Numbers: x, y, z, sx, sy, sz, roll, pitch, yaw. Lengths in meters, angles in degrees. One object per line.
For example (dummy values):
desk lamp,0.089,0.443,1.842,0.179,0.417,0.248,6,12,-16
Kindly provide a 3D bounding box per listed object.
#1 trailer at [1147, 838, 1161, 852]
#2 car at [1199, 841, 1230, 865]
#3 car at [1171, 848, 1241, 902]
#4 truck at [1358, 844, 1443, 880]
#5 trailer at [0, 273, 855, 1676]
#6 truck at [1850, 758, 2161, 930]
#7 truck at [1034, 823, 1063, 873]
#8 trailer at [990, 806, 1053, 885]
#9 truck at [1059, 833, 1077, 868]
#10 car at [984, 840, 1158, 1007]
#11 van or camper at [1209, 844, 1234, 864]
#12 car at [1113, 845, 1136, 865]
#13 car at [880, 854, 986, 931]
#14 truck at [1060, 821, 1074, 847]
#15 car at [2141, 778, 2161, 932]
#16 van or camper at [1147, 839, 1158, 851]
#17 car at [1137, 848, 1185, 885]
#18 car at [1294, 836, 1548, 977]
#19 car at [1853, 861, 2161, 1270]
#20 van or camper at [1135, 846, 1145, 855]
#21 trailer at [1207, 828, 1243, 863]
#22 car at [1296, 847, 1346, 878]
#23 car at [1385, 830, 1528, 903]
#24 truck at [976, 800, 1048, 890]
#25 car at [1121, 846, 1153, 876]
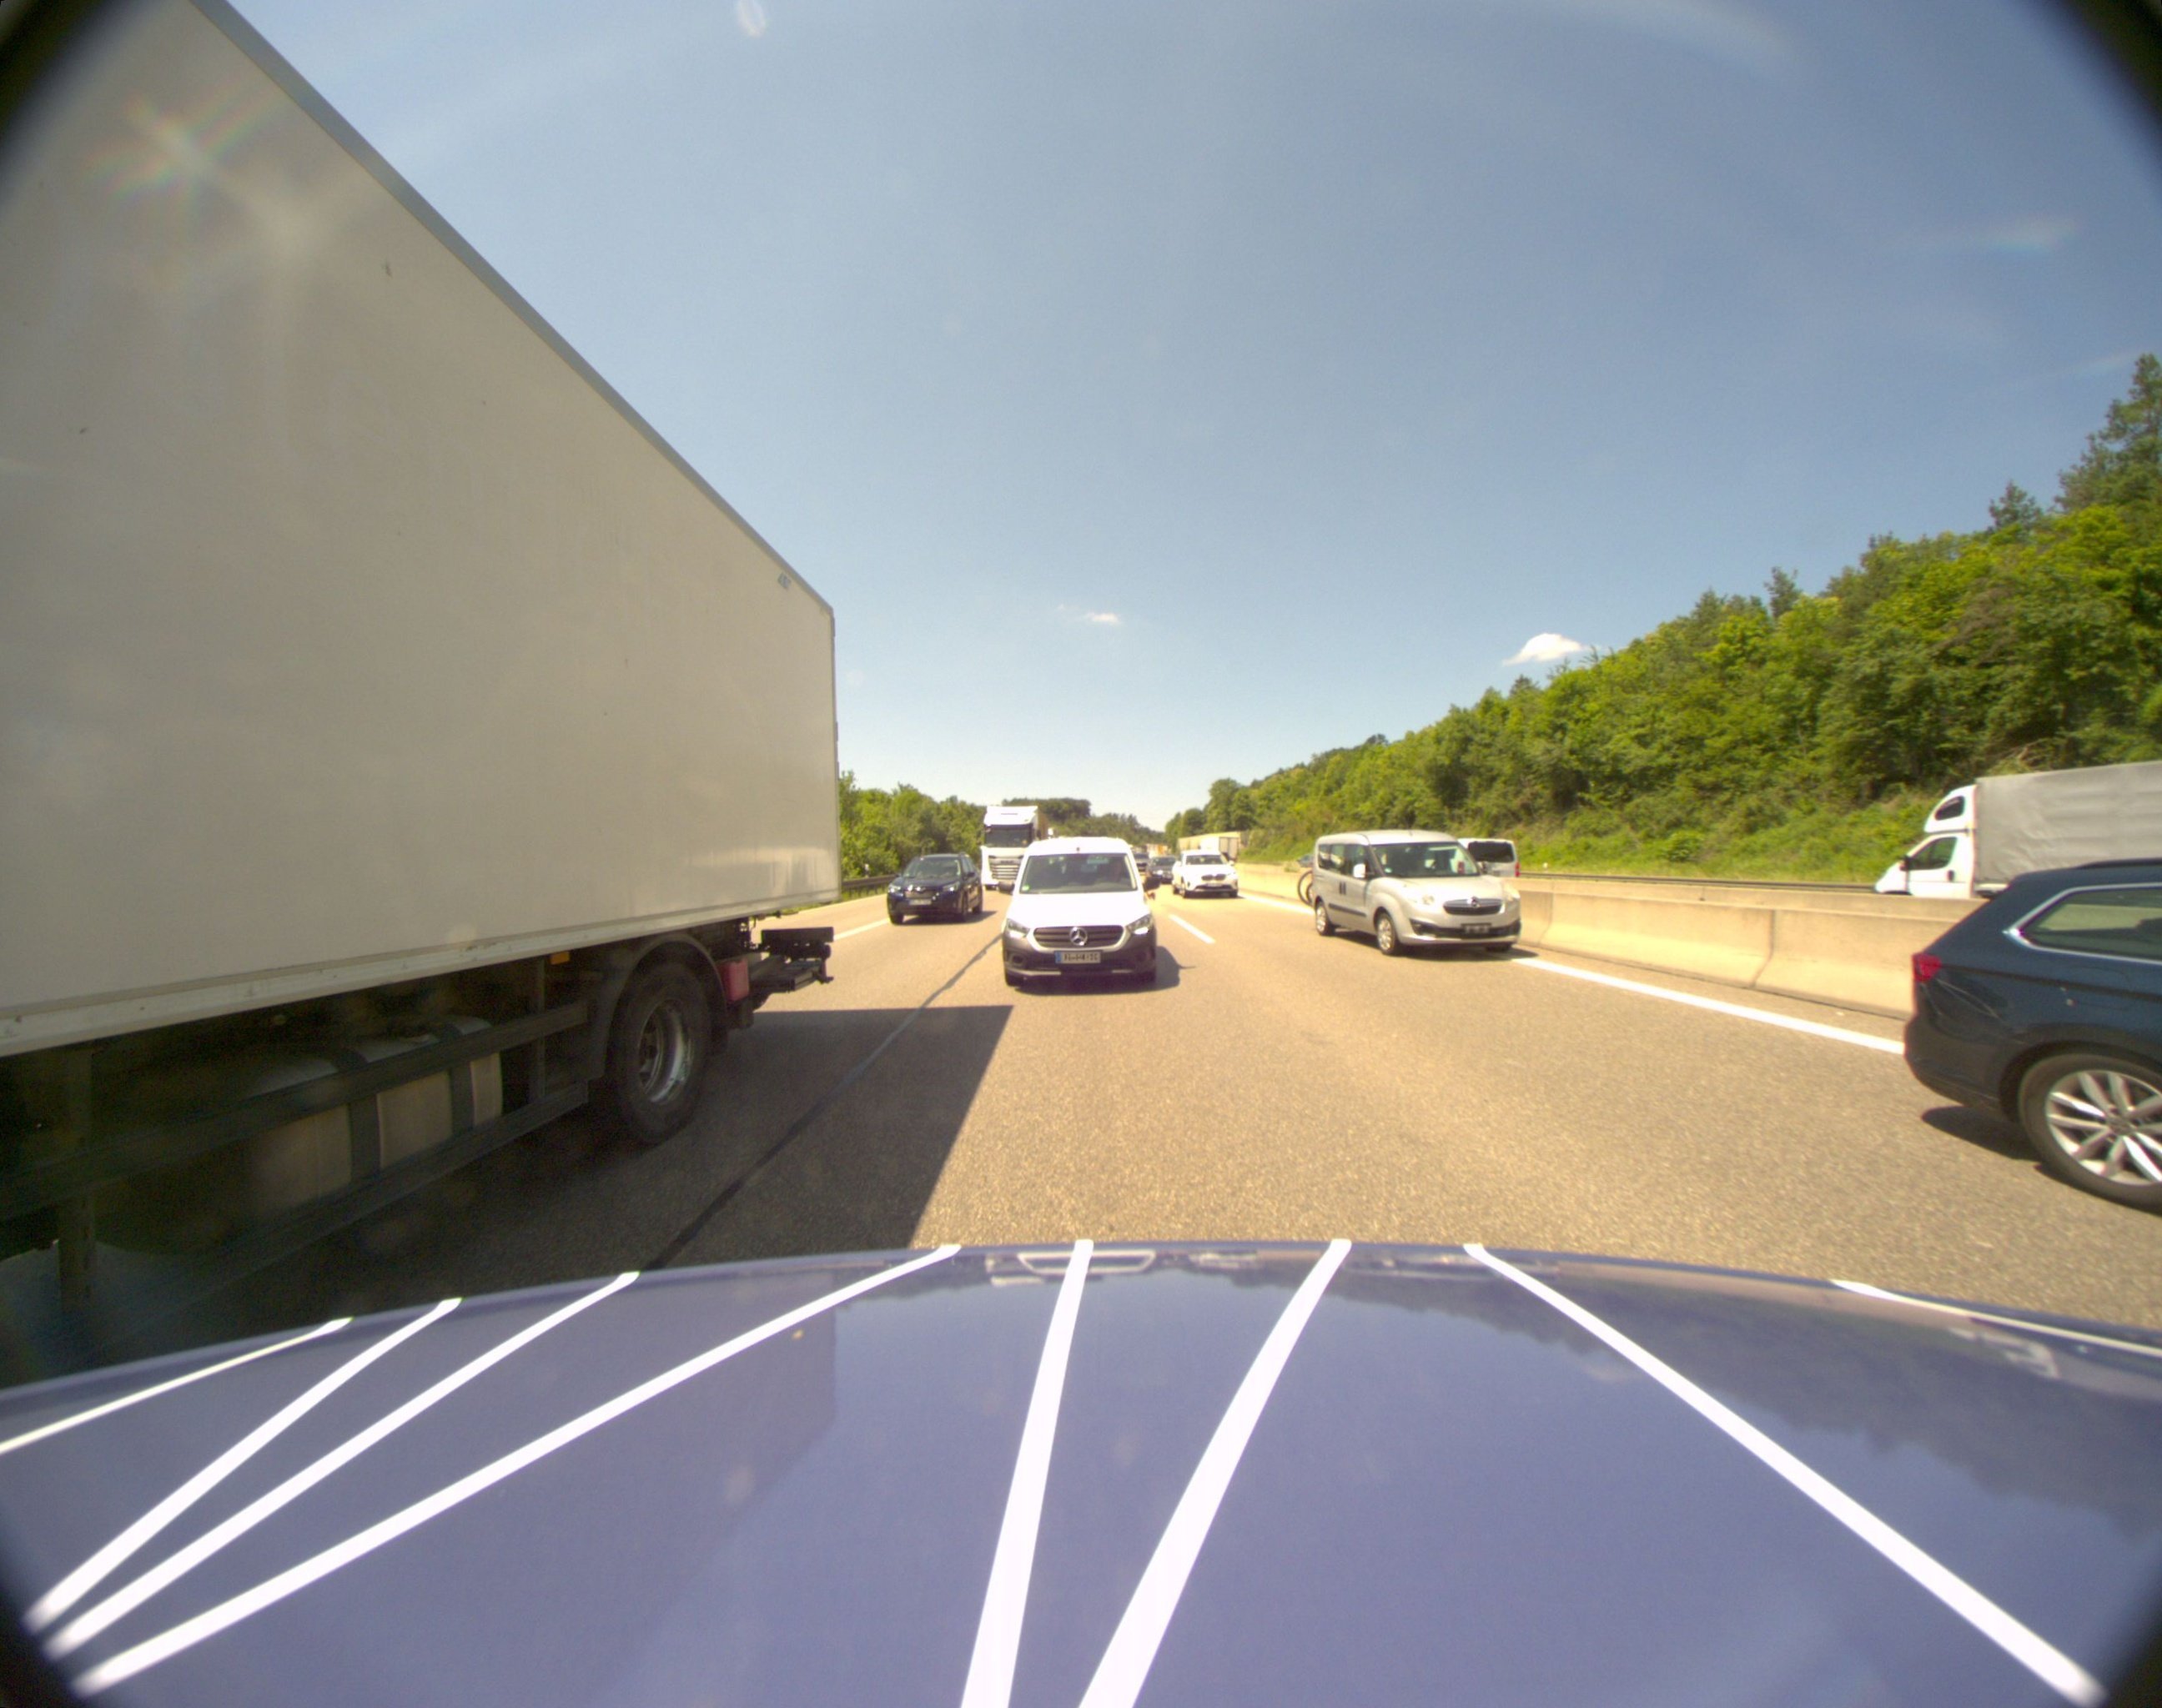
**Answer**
trailer,21.602,-2.686,224.637,3.005,3.849,11.397,-2,1,0
car,11.795,-0.111,67.429,1.998,2.002,3.999,-2,1,1
car,4.410,0.683,27.348,1.824,1.696,3.999,-2,1,0
truck,19.503,0.420,46.778,2.357,2.002,6.490,-2,1,-1
trailer,-3.518,0.252,3.471,2.562,2.882,7.881,-2,0,0
truck,19.002,-0.226,14.323,2.183,2.868,6.741,-2,1,0
truck,-2.994,-0.493,72.660,2.395,4.437,10.868,-1,0,-1
trailer,-3.287,-0.554,45.148,2.767,4.060,11.615,0,1,0
truck,-1.678,-0.378,102.148,2.187,4.437,10.868,-1,0,-1
car,-0.077,0.688,10.071,1.756,1.681,4.363,-2,1,1
van or camper,15.259,-0.020,82.657,1.998,2.002,4.927,-2,1,2
car,4.578,0.098,79.725,1.999,2.002,3.998,-2,1,-2
car,-3.675,0.884,19.699,1.999,1.682,4.609,0,1,-2
truck,-2.331,-3.292,128.760,2.187,4.073,10.868,-1,0,-1
car,15.050,0.021,7.869,1.998,2.002,4.418,-2,1,1
van or camper,15.978,-2.047,169.834,1.998,2.371,4.807,4,1,0
car,4.134,0.606,39.978,1.999,1.747,3.999,-2,1,-1
car,5.075,0.633,12.257,1.857,1.762,4.916,-2,1,0
car,4.901,0.801,1.564,1.879,1.442,4.677,-2,1,0
van or camper,19.251,-1.039,248.913,2.400,2.859,6.712,-1,-1,-2
trailer,19.923,-1.230,105.925,2.956,4.456,10.814,-2,1,0
car,15.161,0.501,48.294,1.788,1.827,4.292,-2,1,0
car,11.572,0.300,23.879,1.999,2.002,4.956,-2,1,-1
truck,-3.334,-0.475,38.693,2.766,4.061,7.333,-2,1,1
car,3.881,0.474,53.322,1.998,2.002,4.000,-1,0,1
